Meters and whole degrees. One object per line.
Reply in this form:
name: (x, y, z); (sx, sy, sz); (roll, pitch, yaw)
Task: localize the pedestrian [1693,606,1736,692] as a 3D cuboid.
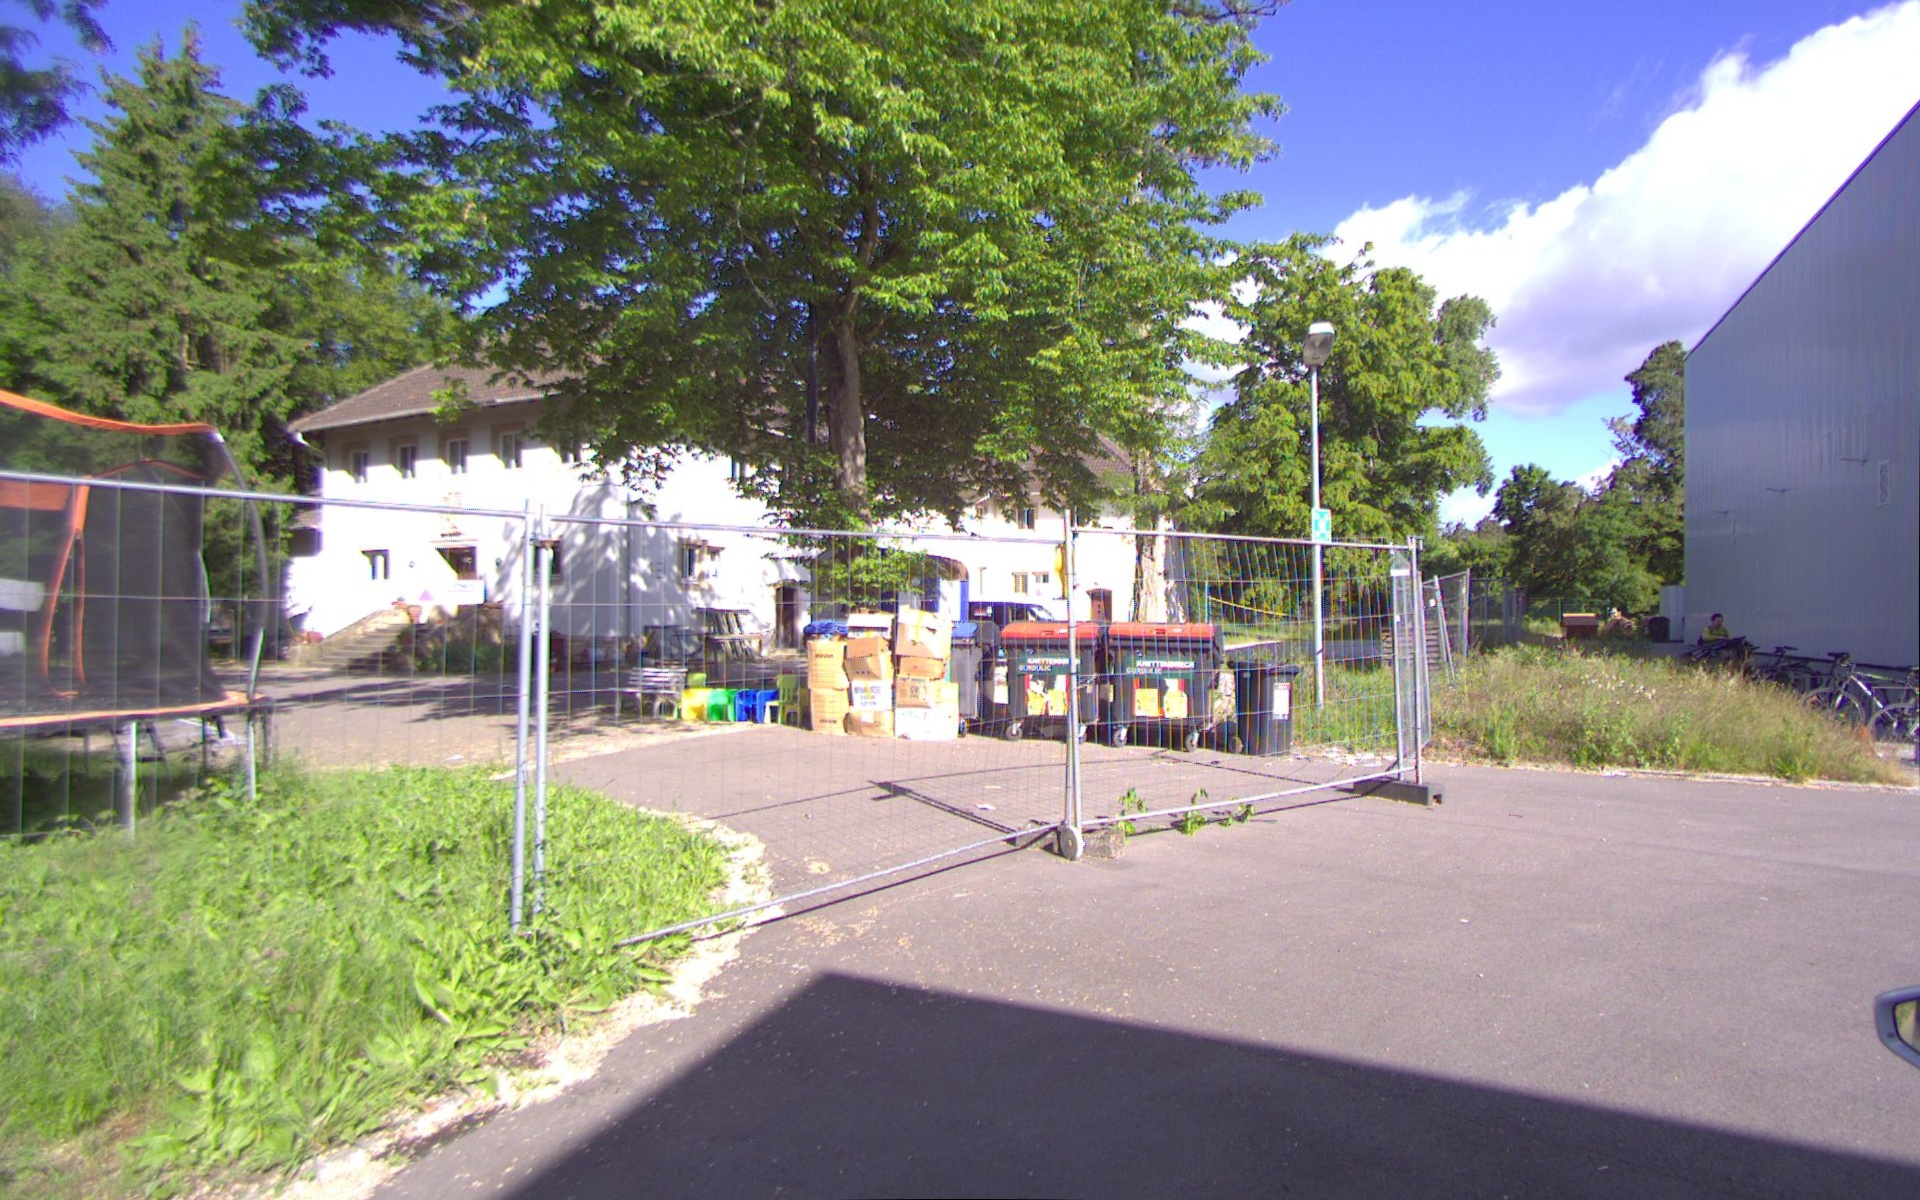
pedestrian: (15.671, 1.011, 20.864); (0.628, 1.751, 0.508); (0, 0, -30)

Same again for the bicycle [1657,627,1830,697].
bicycle: (15.594, 1.203, 20.120); (2.592, 1.283, 1.138); (0, -1, 31)

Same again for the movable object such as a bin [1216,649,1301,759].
movable object such as a bin: (3.283, 1.112, 11.022); (0.725, 1.112, 0.818); (0, -1, 30)

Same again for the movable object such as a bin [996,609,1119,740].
movable object such as a bin: (1.192, 0.870, 12.180); (1.315, 1.504, 0.807); (0, -1, 20)

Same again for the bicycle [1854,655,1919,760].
bicycle: (10.640, 1.144, 10.579); (1.770, 1.076, 0.459); (0, 0, 22)

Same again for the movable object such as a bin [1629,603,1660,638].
movable object such as a bin: (40.204, 1.195, 59.023); (1.398, 2.040, 1.123); (0, -1, 31)

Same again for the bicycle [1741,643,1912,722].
bicycle: (12.996, 1.219, 15.126); (1.858, 1.109, 0.525); (0, -1, 25)

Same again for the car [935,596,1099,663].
car: (1.750, 0.870, 30.815); (4.634, 1.927, 1.999); (0, -1, 22)

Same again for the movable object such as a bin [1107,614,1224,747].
movable object such as a bin: (2.387, 0.893, 11.624); (1.224, 1.464, 0.702); (0, -1, 21)

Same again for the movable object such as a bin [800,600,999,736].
movable object such as a bin: (-0.761, 0.814, 12.824); (2.250, 1.612, 1.174); (0, -1, 21)

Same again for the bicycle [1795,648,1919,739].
bicycle: (11.868, 1.191, 12.839); (1.765, 1.097, 0.524); (0, -1, 28)
